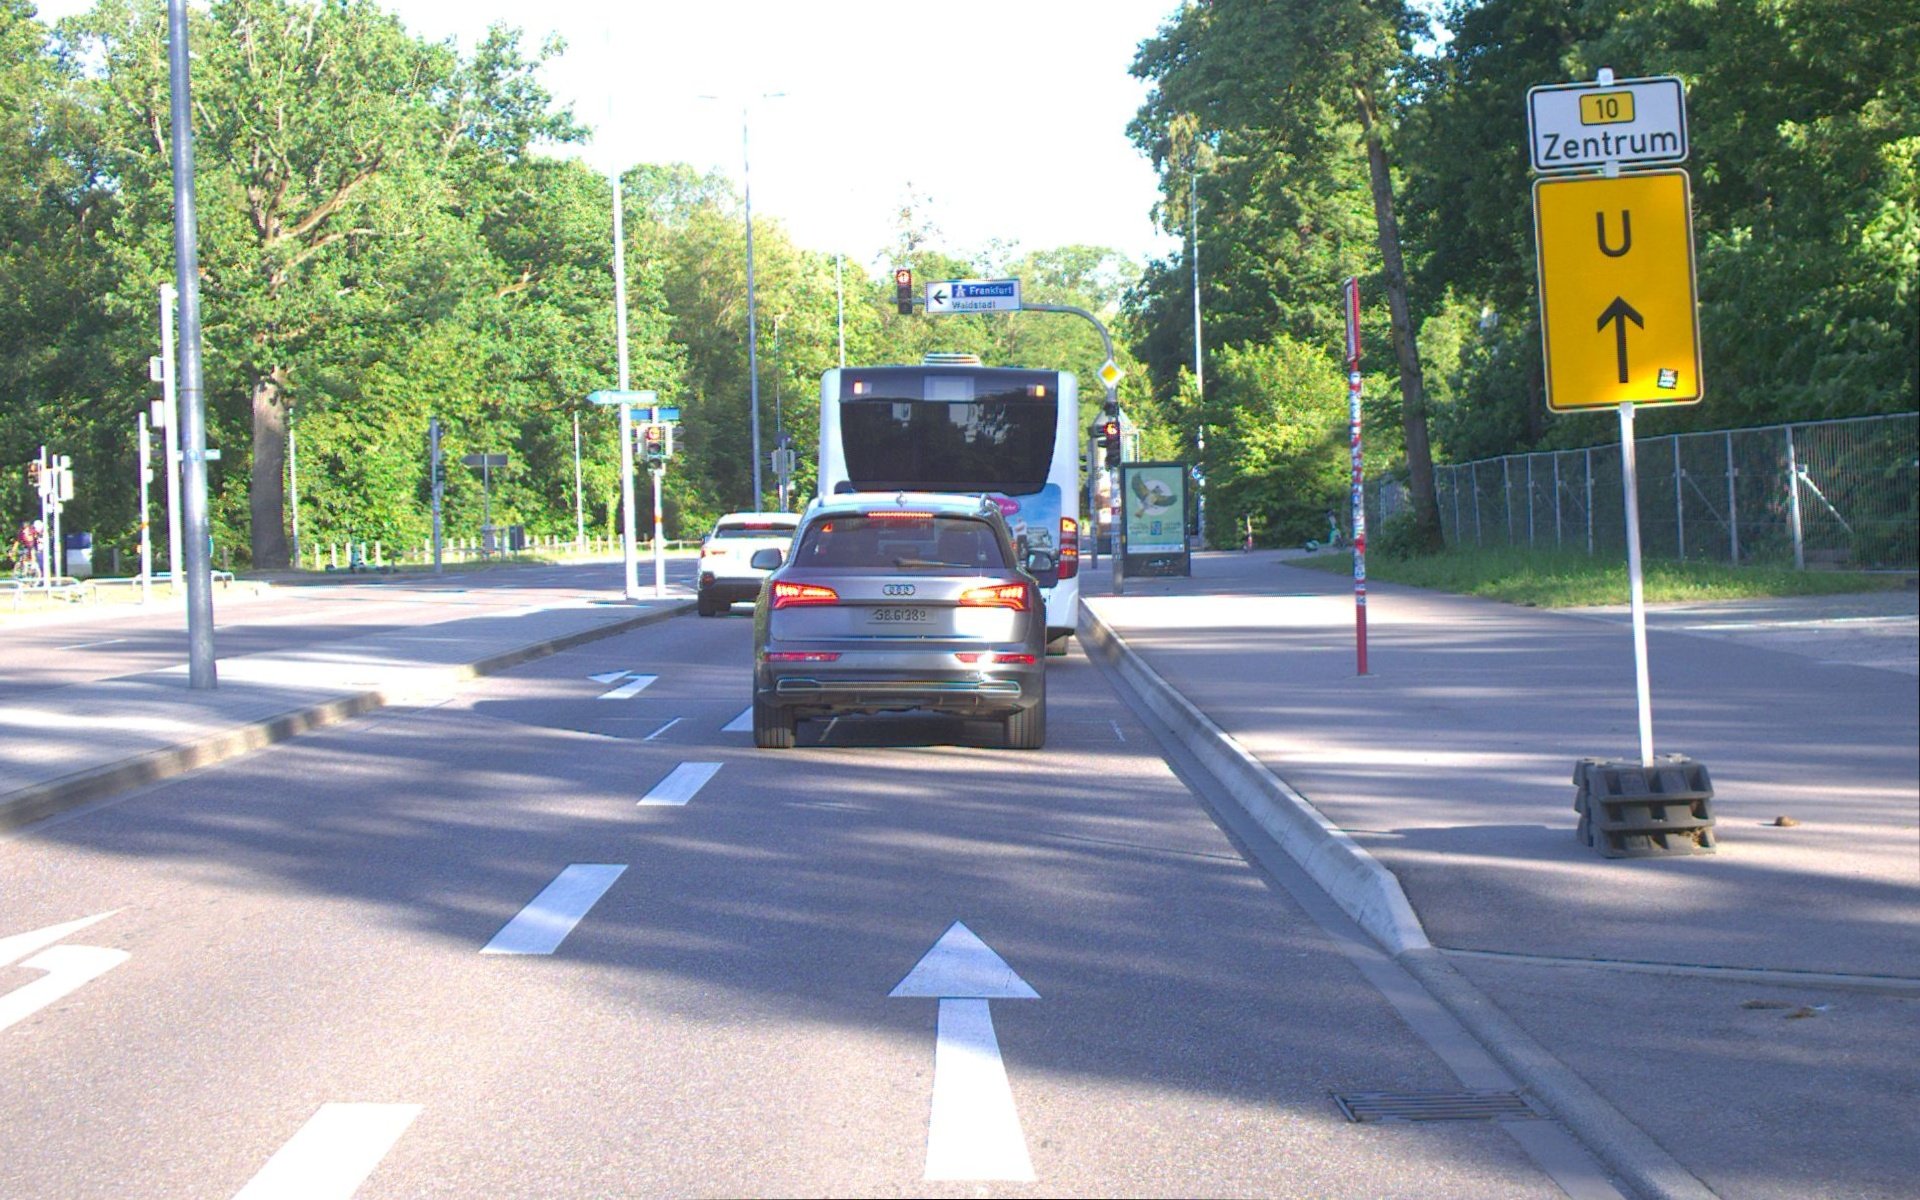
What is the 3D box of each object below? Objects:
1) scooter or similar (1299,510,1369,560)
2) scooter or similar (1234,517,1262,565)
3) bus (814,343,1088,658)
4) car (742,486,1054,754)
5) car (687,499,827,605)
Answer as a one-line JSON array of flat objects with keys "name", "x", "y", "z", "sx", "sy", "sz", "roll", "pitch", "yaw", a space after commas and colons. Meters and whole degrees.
[{"name": "scooter or similar", "x": 11.252, "y": -1.946, "z": 103.346, "sx": 2.015, "sy": 1.439, "sz": 0.606, "roll": -3, "pitch": 1, "yaw": -24}, {"name": "scooter or similar", "x": 8.869, "y": -1.816, "z": 105.848, "sx": 0.508, "sy": 1.439, "sz": 2.023, "roll": -2, "pitch": 1, "yaw": -5}, {"name": "bus", "x": -0.051, "y": -1.018, "z": 37.264, "sx": 2.595, "sy": 2.978, "sz": 9.327, "roll": 0, "pitch": 1, "yaw": 0}, {"name": "car", "x": -0.364, "y": 0.070, "z": 23.047, "sx": 1.898, "sy": 1.626, "sz": 4.000, "roll": 0, "pitch": 1, "yaw": 0}, {"name": "car", "x": -3.040, "y": -0.755, "z": 52.138, "sx": 1.836, "sy": 1.513, "sz": 4.000, "roll": -1, "pitch": 1, "yaw": 1}]
